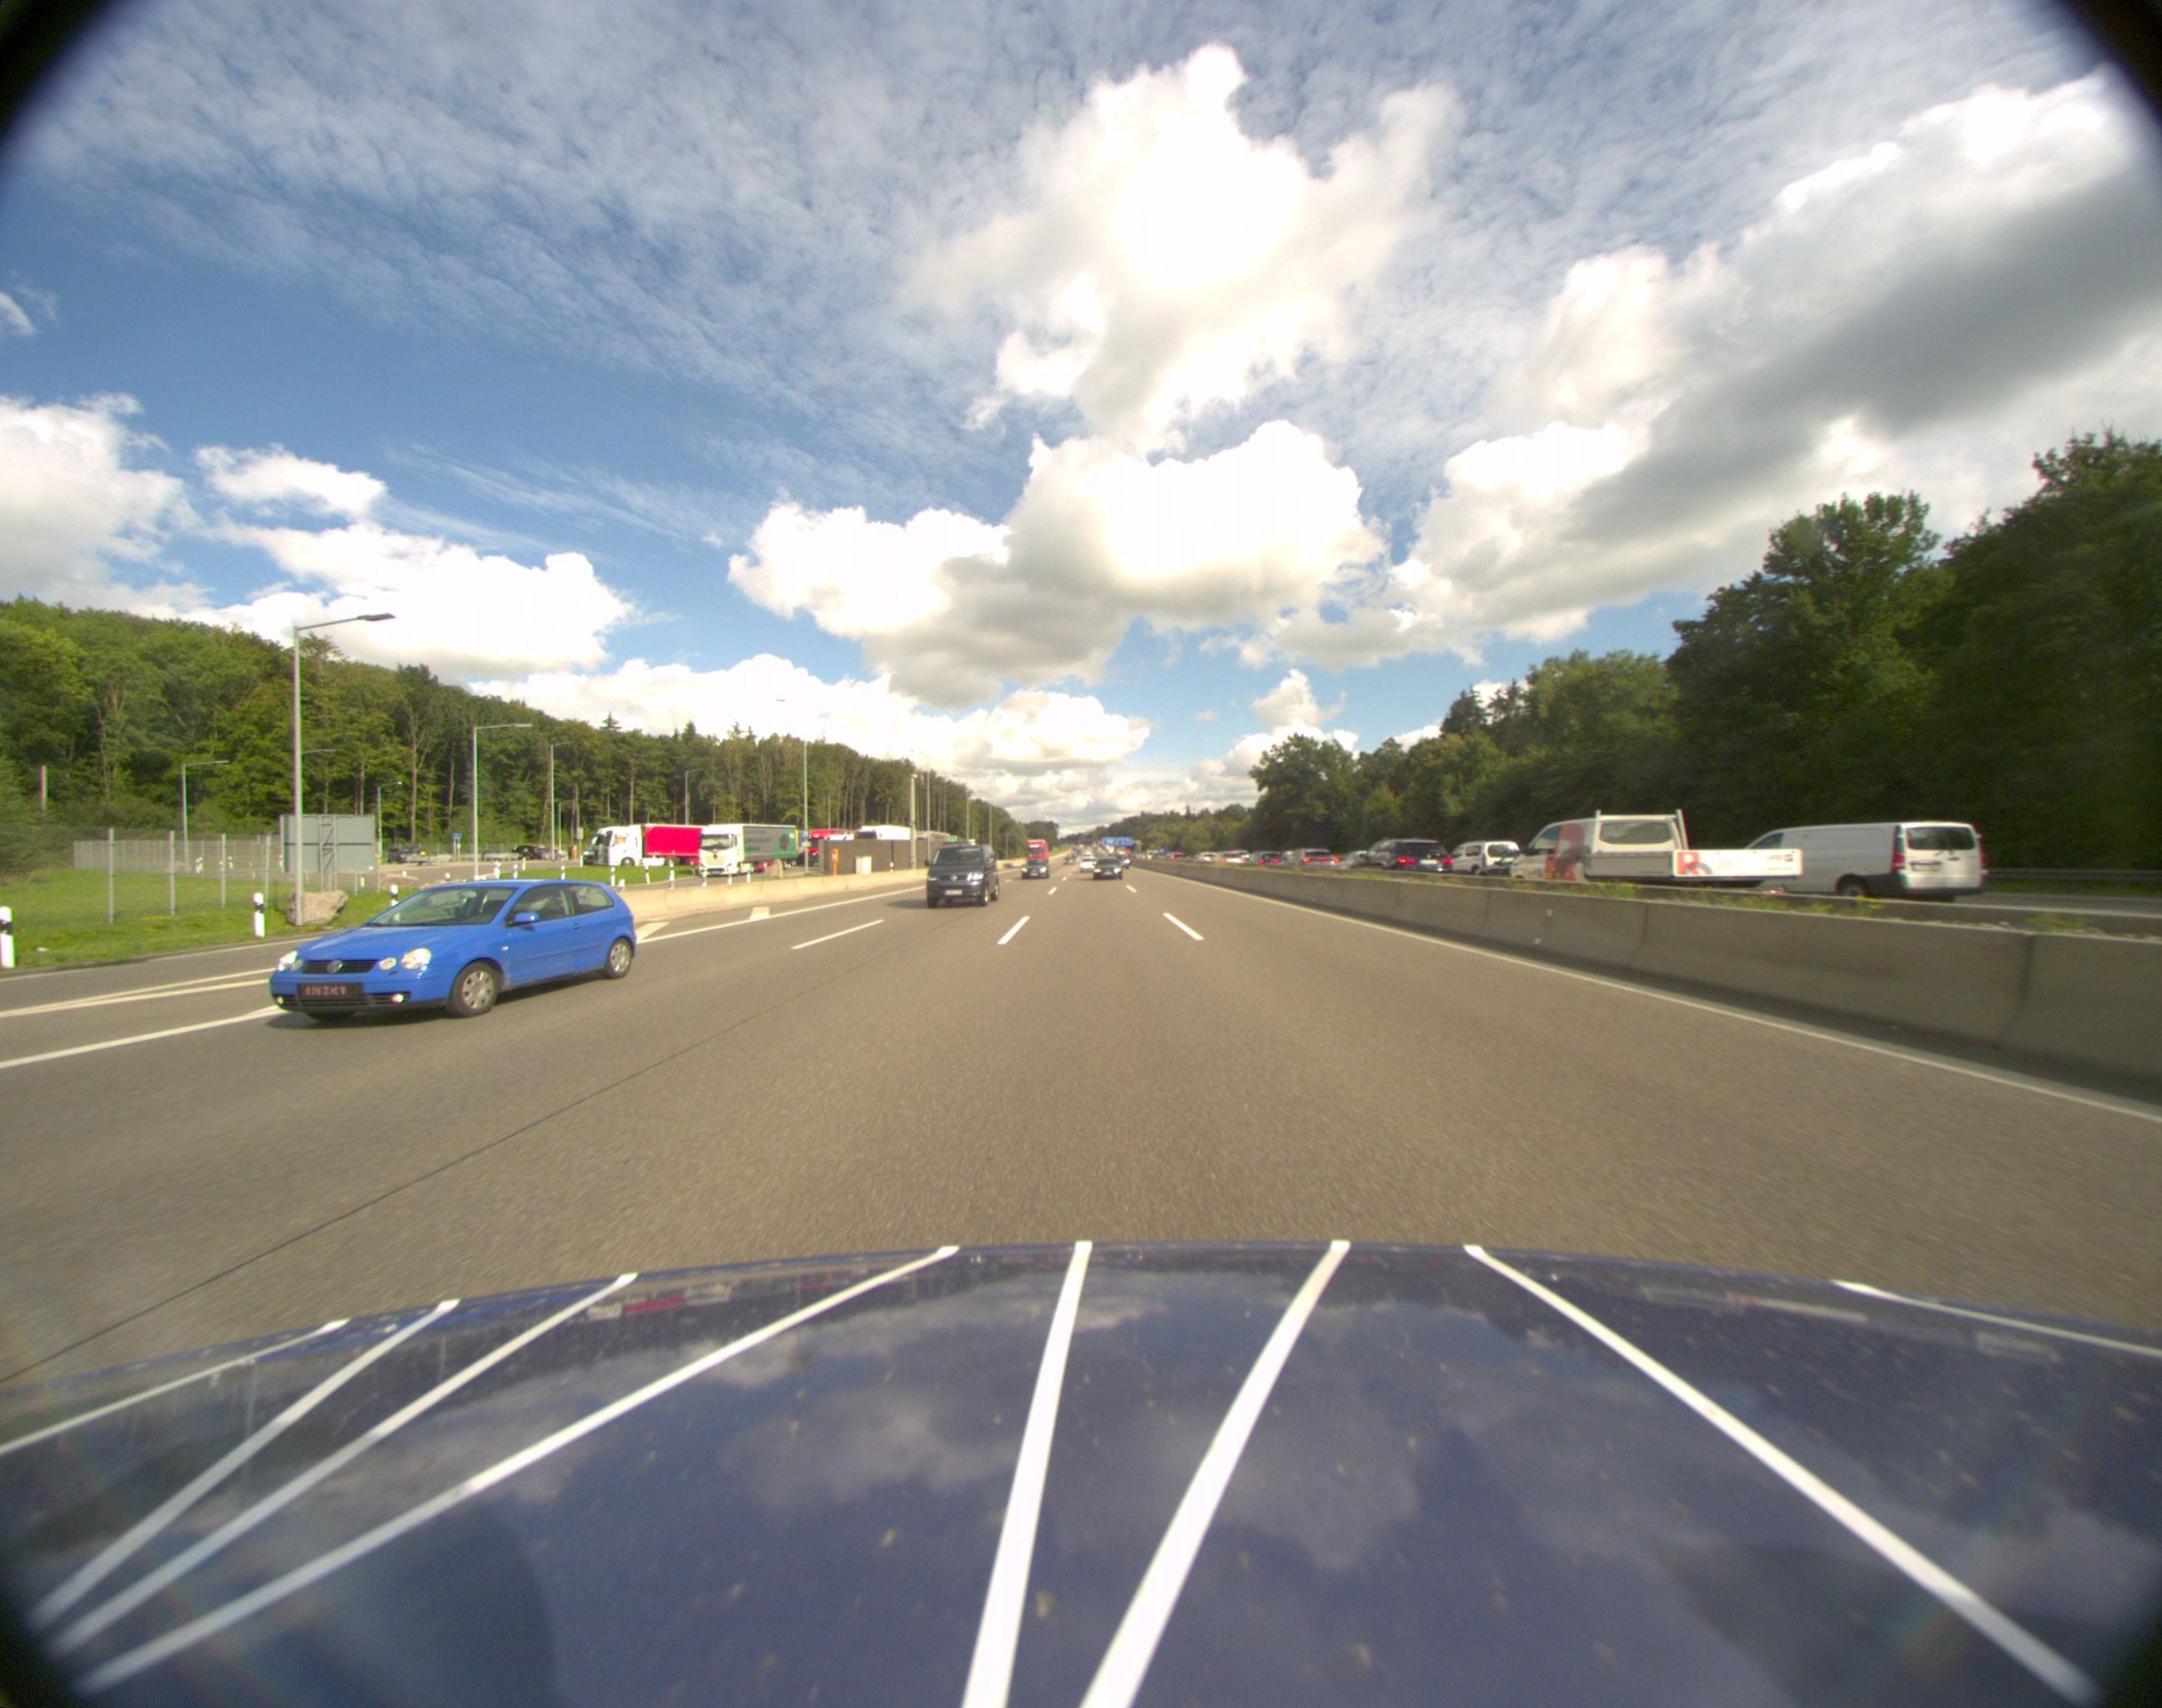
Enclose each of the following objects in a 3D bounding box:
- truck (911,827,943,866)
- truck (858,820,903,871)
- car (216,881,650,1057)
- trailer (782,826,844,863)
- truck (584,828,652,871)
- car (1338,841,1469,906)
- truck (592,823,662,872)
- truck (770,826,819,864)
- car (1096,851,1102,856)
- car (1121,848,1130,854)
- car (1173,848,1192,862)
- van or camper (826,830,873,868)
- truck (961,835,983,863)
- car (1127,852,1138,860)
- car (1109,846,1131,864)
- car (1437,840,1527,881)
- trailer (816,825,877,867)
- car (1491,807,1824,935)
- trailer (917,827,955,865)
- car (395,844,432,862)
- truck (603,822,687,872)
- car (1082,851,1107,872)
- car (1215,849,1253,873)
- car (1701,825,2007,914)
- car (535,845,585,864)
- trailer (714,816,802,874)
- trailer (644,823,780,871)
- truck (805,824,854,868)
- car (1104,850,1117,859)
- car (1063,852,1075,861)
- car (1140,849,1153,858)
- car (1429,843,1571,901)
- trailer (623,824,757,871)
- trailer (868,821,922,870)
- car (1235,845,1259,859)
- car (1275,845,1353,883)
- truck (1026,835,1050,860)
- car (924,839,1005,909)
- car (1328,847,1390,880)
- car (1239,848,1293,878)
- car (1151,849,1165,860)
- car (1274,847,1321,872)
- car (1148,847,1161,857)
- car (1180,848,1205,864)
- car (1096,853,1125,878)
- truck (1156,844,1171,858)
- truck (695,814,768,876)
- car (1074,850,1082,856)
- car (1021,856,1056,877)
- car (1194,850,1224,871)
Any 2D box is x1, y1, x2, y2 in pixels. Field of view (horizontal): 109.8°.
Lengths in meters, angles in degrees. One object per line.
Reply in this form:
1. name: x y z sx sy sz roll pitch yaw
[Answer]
1. truck: -20.011 -1.000 99.001 2.661 4.896 7.261 0 0 0
2. truck: -20.333 -0.820 77.305 2.661 4.896 6.985 0 0 0
3. car: -7.136 1.136 9.039 1.654 1.433 4.000 -2 0 1
4. trailer: -31.922 -1.125 91.119 2.999 4.001 12.077 -2 1 0
5. truck: -45.470 -0.427 74.651 5.181 4.094 2.565 -1 1 -43
6. car: 10.690 0.585 25.712 2.176 1.936 5.396 -1 0 1
7. truck: -43.249 -0.621 72.369 5.132 4.482 2.889 -1 1 -43
8. truck: -31.938 -1.051 84.995 2.982 4.001 6.254 -2 1 0
9. car: 6.151 -0.189 256.390 1.892 1.783 4.000 0 0 1
10. car: 11.198 -0.792 191.973 1.998 1.543 4.000 0 0 1
11. car: 11.575 0.080 86.703 1.642 1.543 4.000 -1 0 1
12. van or camper: -20.168 -0.389 66.412 2.394 3.179 4.743 -1 0 3
13. truck: -19.625 -0.852 137.035 2.661 4.896 7.385 0 0 2
14. car: 10.706 0.417 158.981 1.998 1.543 4.000 -1 0 1
15. car: 4.273 0.070 84.132 2.153 1.800 5.098 -2 1 0
16. car: 18.480 0.289 35.268 1.851 1.789 4.550 0 0 1
17. trailer: -27.312 -0.916 89.434 2.879 4.480 13.691 -1 0 0
18. car: 10.573 0.262 14.781 2.164 2.002 5.822 0 0 1
19. trailer: -19.963 -1.070 105.324 2.661 4.896 12.742 0 0 0
20. car: -62.674 -0.102 71.350 3.988 1.674 1.962 0 0 40
21. truck: -40.137 -0.664 70.031 6.109 4.481 2.873 -2 1 -43
22. car: 1.196 0.640 69.109 2.153 1.800 5.098 -2 1 0
23. car: 10.440 0.447 52.142 1.746 1.608 4.550 -1 0 1
24. car: 18.068 0.307 18.292 1.955 1.841 5.341 0 0 1
25. car: -56.396 0.051 82.261 3.997 1.904 2.000 0 0 -1
26. trailer: -27.374 -0.728 65.273 2.880 4.480 12.996 0 0 -4
27. trailer: -35.739 -0.729 74.122 11.406 4.348 2.838 -2 1 -43
28. truck: -27.324 -0.840 82.785 2.878 4.481 7.036 -1 0 1
29. car: 5.231 0.097 133.290 2.153 1.540 4.677 -1 0 1
30. car: -2.288 0.432 146.677 2.153 1.540 4.677 -2 0 1
31. car: 11.040 -0.099 128.555 1.998 1.543 4.000 -1 0 1
32. car: 14.508 0.560 26.758 2.176 1.828 5.259 0 0 1
33. trailer: -39.042 -0.686 76.377 11.571 4.405 2.854 -1 1 -43
34. trailer: -20.307 -0.895 83.829 2.661 4.896 13.111 0 0 0
35. car: 19.551 -0.220 89.736 1.988 1.608 4.000 -1 0 1
36. car: 10.424 0.417 34.398 2.176 1.608 4.550 0 0 1
37. truck: -6.537 -0.931 116.139 3.017 3.662 7.561 -1 0 1
38. car: -3.805 0.610 25.685 1.853 2.097 4.932 -2 0 1
39. car: 14.609 0.480 40.145 1.672 1.608 4.550 -1 0 1
40. car: 10.495 0.499 43.440 1.998 1.608 4.550 -1 0 1
41. car: 10.764 0.101 106.283 1.698 1.543 4.000 -1 0 1
42. car: 14.951 0.347 52.764 1.998 1.608 4.550 -1 0 1
43. car: 11.278 -0.275 117.348 1.634 1.543 4.000 -1 0 1
44. car: 11.428 0.160 77.781 1.998 1.543 4.000 -1 0 1
45. car: 1.851 0.687 48.546 1.733 1.500 4.728 -2 0 1
46. truck: 15.695 -0.573 144.524 2.368 2.444 5.239 0 0 1
47. truck: -26.732 -0.667 58.519 2.880 4.480 7.173 0 0 -5
48. car: -0.840 -0.387 210.588 2.153 1.540 4.677 -2 0 1
49. car: -3.026 0.865 55.095 2.153 1.426 5.099 -1 0 1
50. car: 10.110 0.467 60.227 1.665 1.608 4.000 -1 0 1
